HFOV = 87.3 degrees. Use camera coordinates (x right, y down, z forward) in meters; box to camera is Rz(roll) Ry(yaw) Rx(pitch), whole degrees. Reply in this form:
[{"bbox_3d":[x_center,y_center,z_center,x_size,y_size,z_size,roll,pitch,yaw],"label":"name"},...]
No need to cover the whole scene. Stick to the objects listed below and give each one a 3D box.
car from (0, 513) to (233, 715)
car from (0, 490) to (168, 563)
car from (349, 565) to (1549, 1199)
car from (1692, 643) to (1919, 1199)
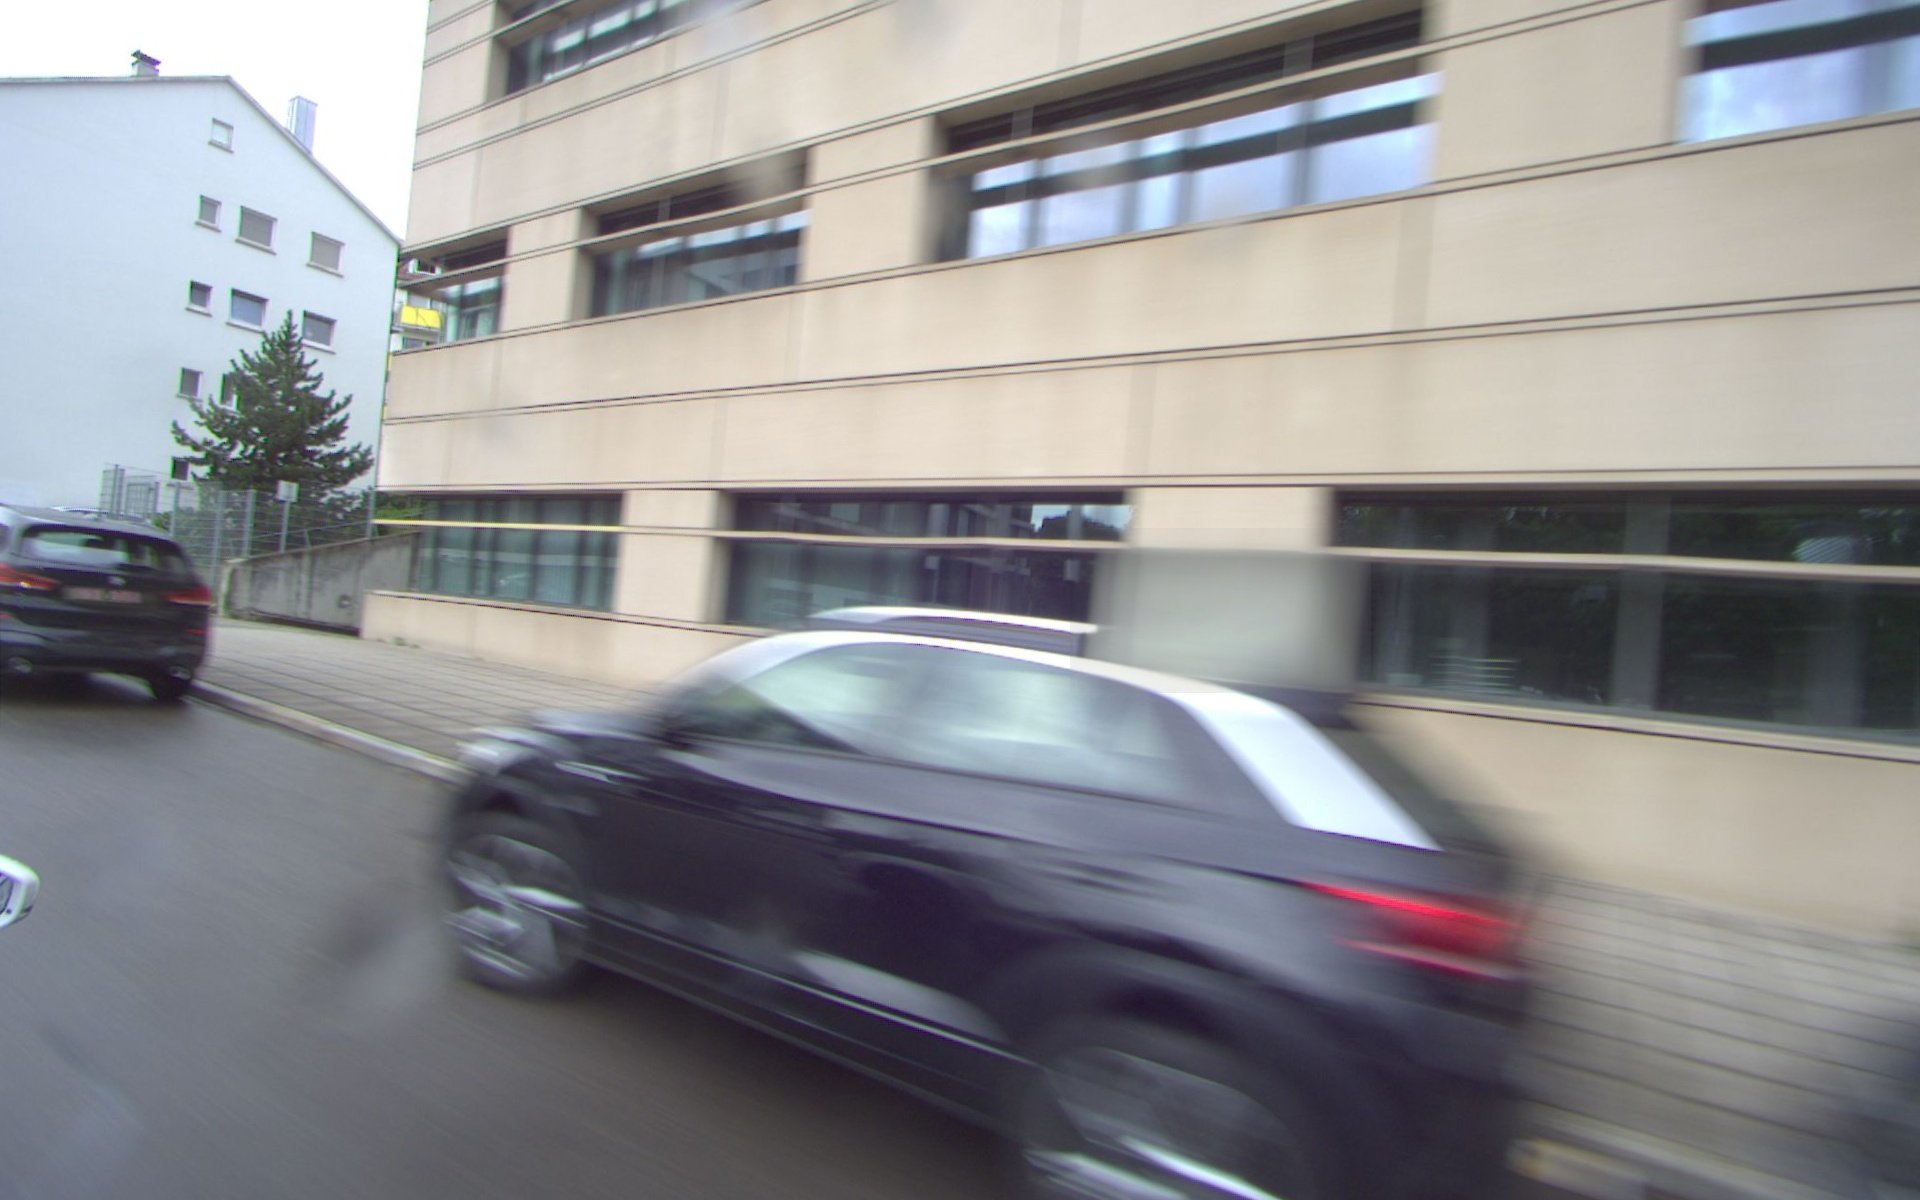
[{"bbox_3d":[-8.961,-0.014,9.570,4.249,1.551,1.746,6,-2,33],"label":"car"},{"bbox_3d":[-26.027,-2.151,29.122,1.874,1.735,4.438,6,1,33],"label":"car"},{"bbox_3d":[-0.250,0.894,3.702,3.992,1.529,1.729,6,-3,33],"label":"car"},{"bbox_3d":[3.652,1.161,1.124,4.322,1.622,1.774,6,-2,33],"label":"car"}]
